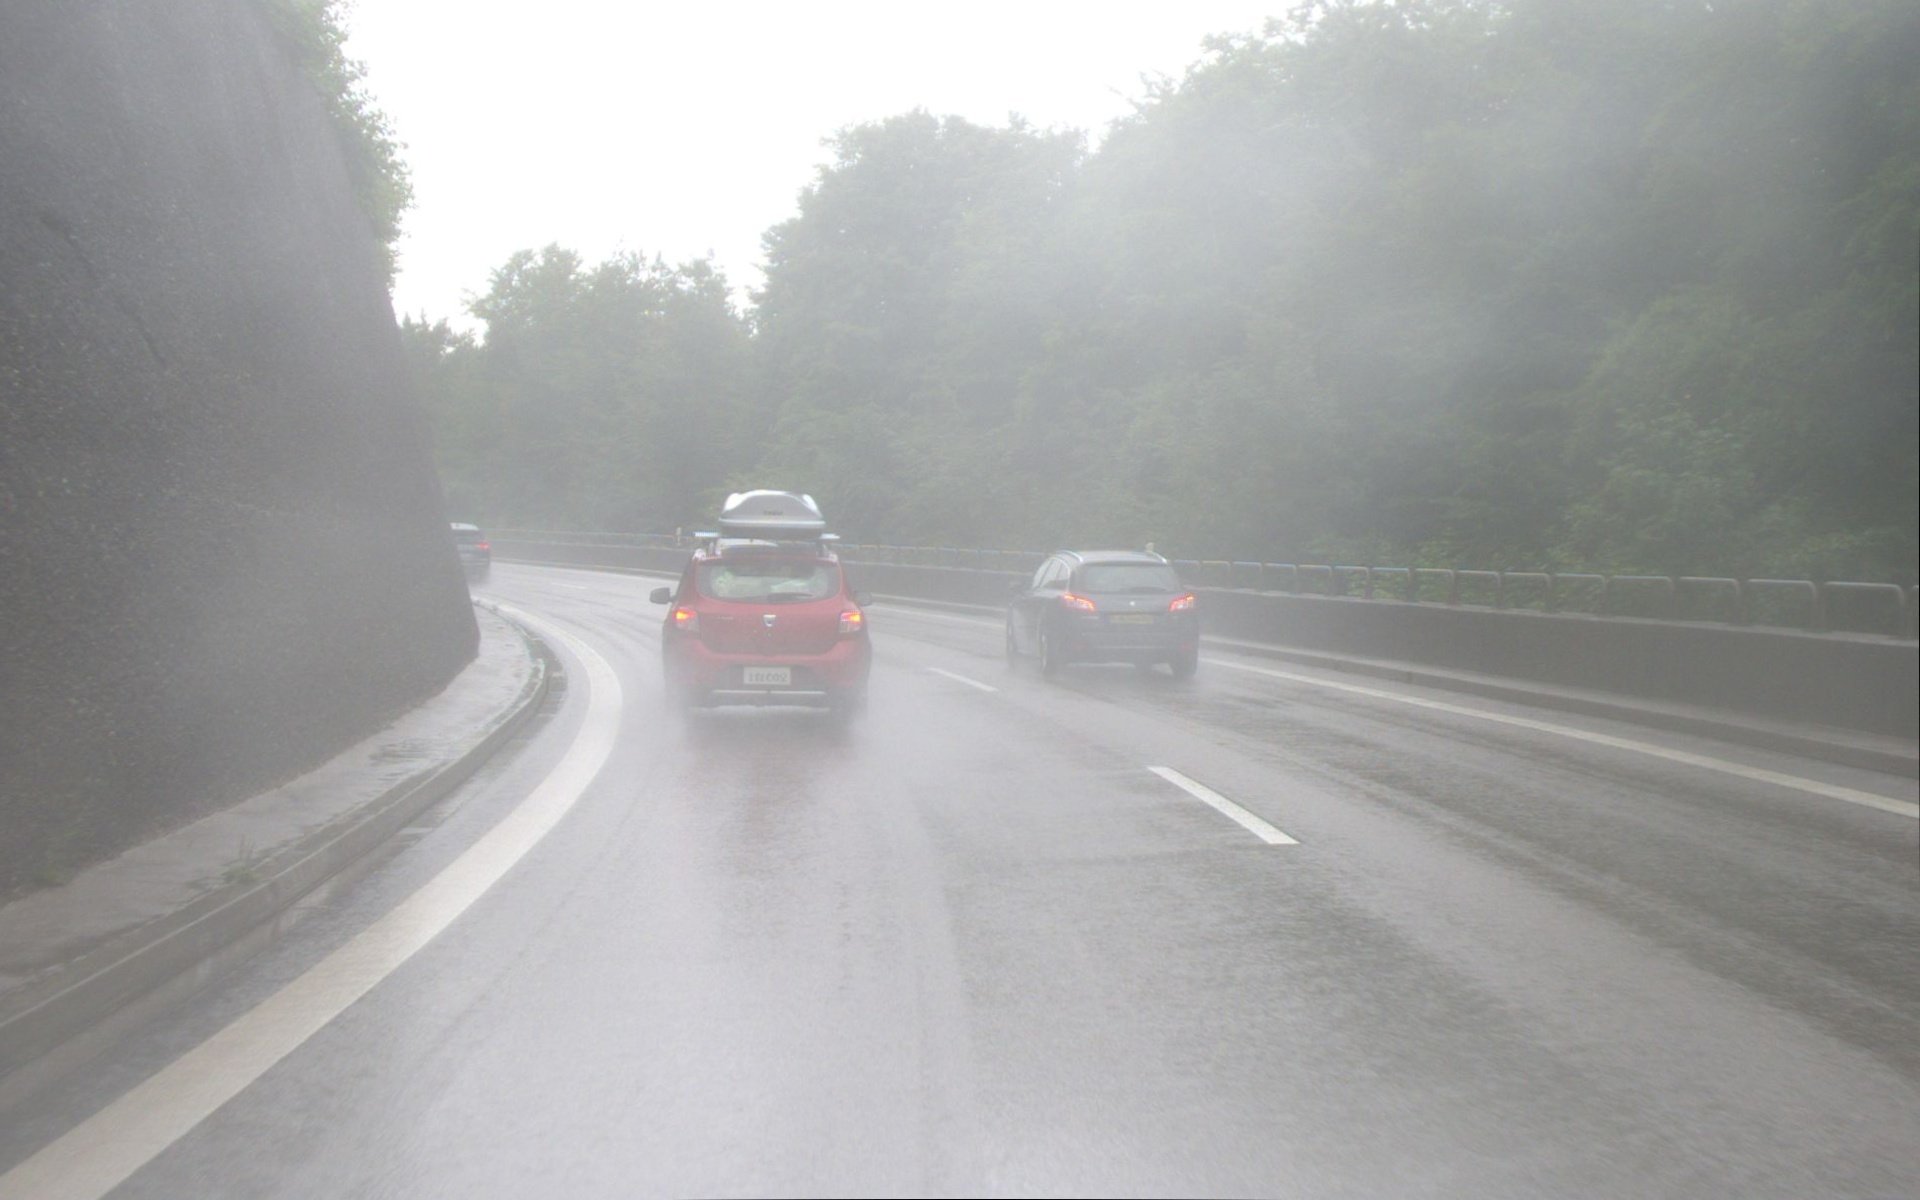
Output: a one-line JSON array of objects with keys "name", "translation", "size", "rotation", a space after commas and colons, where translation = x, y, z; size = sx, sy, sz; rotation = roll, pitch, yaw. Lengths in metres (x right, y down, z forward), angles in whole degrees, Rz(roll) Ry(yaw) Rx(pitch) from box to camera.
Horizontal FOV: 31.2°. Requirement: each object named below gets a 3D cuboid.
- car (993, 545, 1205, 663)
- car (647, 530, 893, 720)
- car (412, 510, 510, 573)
[{"name": "car", "translation": [1.586, 0.023, 40.536], "size": [1.800, 1.303, 4.001], "rotation": [1, 1, -8]}, {"name": "car", "translation": [-1.749, 0.178, 30.416], "size": [1.993, 1.546, 4.001], "rotation": [1, 1, -5]}, {"name": "car", "translation": [-14.058, -1.633, 96.674], "size": [1.993, 1.678, 4.001], "rotation": [1, 0, -19]}]
